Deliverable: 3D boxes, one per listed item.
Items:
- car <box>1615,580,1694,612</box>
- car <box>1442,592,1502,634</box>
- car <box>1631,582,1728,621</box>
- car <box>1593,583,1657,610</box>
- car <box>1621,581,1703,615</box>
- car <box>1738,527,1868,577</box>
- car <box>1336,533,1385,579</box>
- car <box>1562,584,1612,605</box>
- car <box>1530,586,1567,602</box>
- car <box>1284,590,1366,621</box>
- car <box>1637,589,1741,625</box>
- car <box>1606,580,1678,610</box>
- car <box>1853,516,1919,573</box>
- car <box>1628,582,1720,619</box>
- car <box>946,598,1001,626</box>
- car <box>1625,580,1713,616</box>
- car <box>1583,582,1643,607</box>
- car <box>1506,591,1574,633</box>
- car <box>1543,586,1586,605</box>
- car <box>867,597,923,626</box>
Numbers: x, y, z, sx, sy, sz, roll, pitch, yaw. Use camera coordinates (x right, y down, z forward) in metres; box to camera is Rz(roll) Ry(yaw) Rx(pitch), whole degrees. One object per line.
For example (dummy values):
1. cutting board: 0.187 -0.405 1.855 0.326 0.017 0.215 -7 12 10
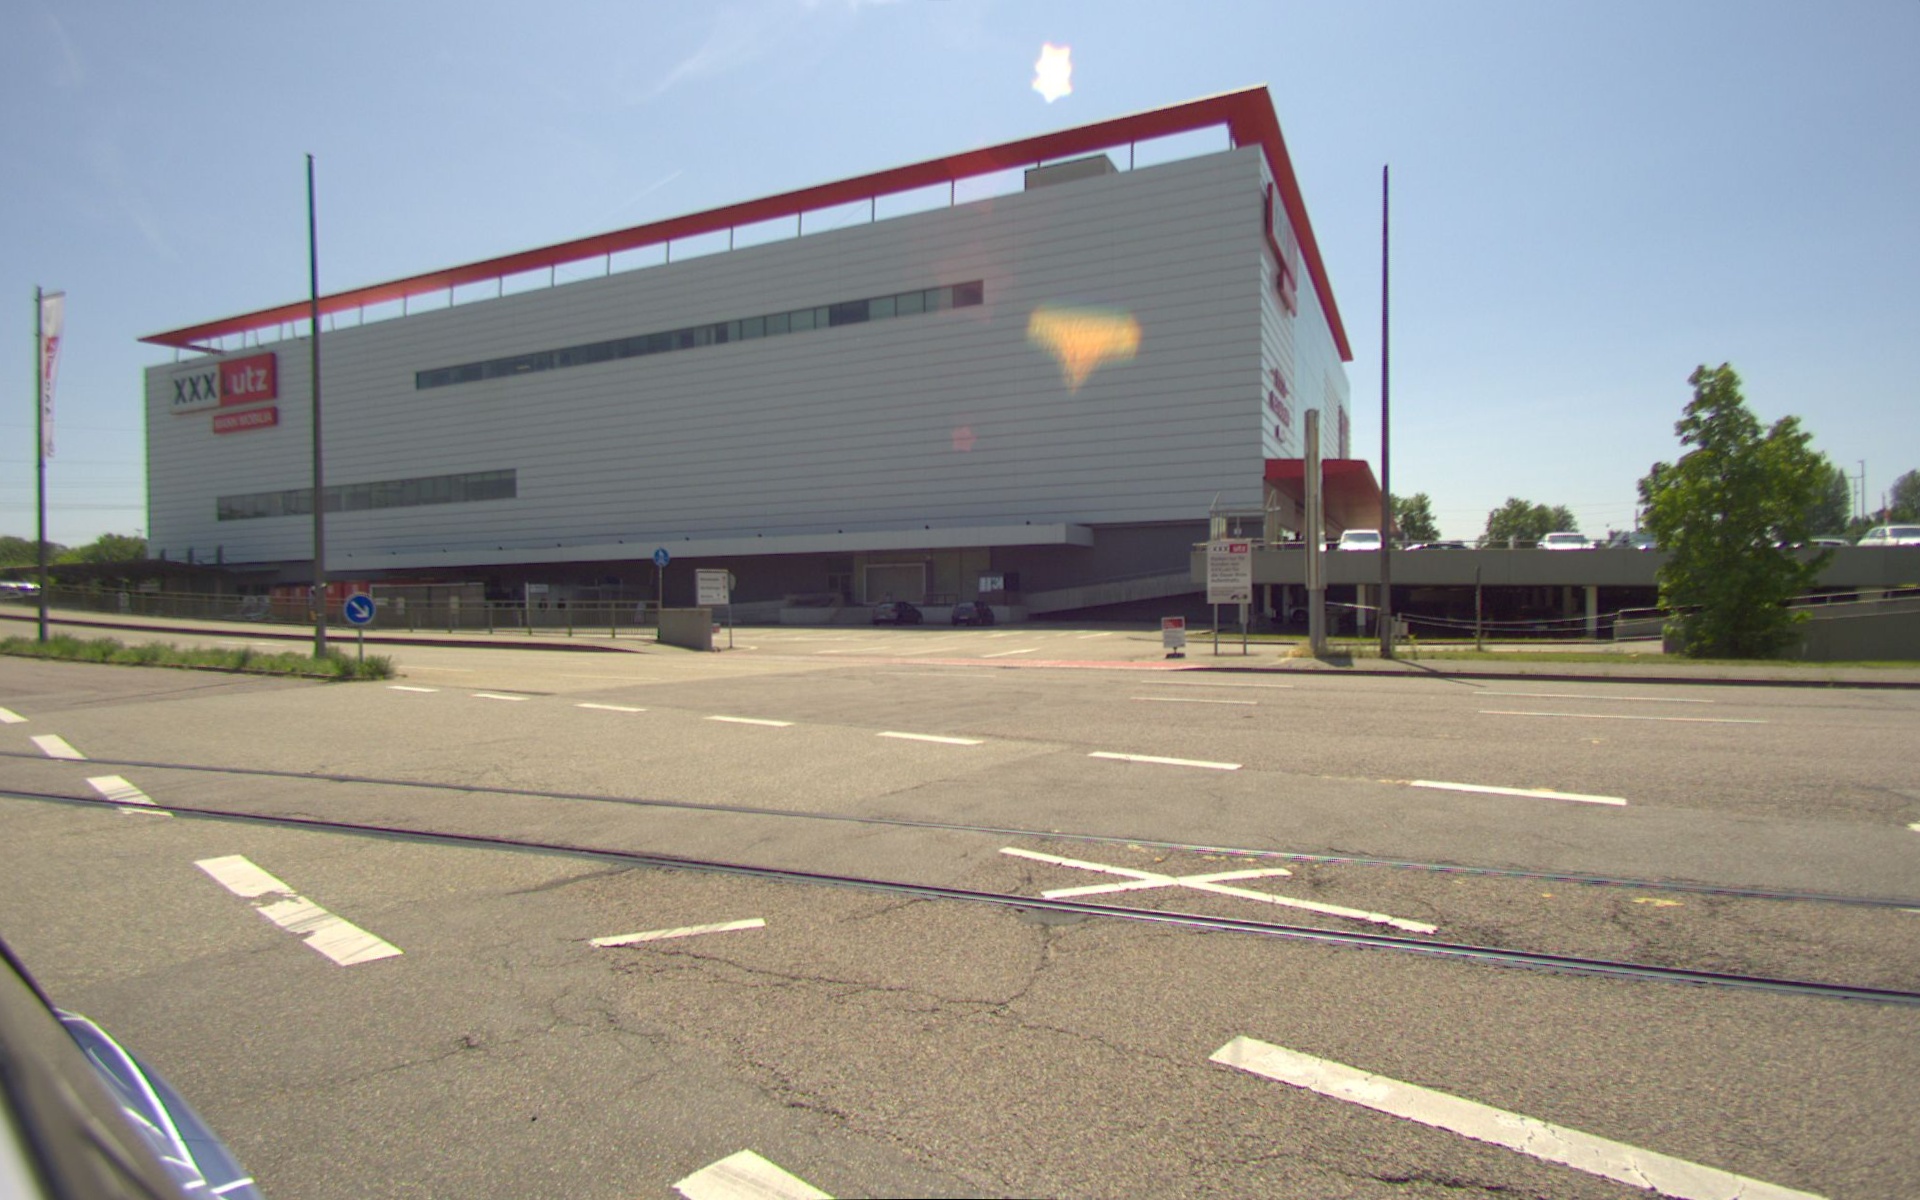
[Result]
1. car: 45.421 -0.258 66.311 3.980 2.029 1.982 -1 0 27
2. car: 21.192 0.510 42.002 1.988 1.626 3.968 -1 0 24
3. car: 38.338 0.081 54.061 3.983 2.029 1.980 -1 0 29
4. car: 51.763 -0.256 78.886 3.981 2.029 1.981 -1 0 28
5. car: 43.937 -0.110 63.471 3.981 2.029 1.981 -1 0 28
6. car: 37.170 -2.082 44.755 3.976 2.029 1.984 -1 0 25
7. car: 16.240 -1.722 40.965 1.698 1.709 3.454 0 0 24
8. car: 60.788 -0.539 98.176 3.980 2.029 1.982 -1 0 27
9. car: 76.253 -0.751 131.141 3.990 2.029 1.977 -1 0 34
10. car: 21.045 0.327 58.518 4.382 1.701 1.987 -1 0 20
11. car: 36.603 0.343 50.935 3.981 1.741 1.981 -1 0 28
12. car: 48.551 -0.329 72.133 3.980 2.029 1.982 -1 0 27
13. car: 32.392 -1.859 34.369 1.989 1.781 4.165 -1 0 26
14. car: 40.252 0.020 57.190 3.981 2.029 1.981 -1 0 28
15. car: 0.788 0.675 58.231 1.948 1.506 3.457 -1 0 24
16. car: 41.925 -0.105 59.951 3.982 2.029 1.981 -1 0 29
17. car: 54.964 -0.416 85.226 3.980 2.029 1.982 -1 0 27
18. car: 23.846 0.463 41.715 1.988 1.651 3.968 -1 0 24
19. car: 66.887 -0.455 112.007 3.983 2.029 1.980 -1 0 29
20. car: -3.819 0.655 60.172 1.900 1.632 3.721 -1 0 23
